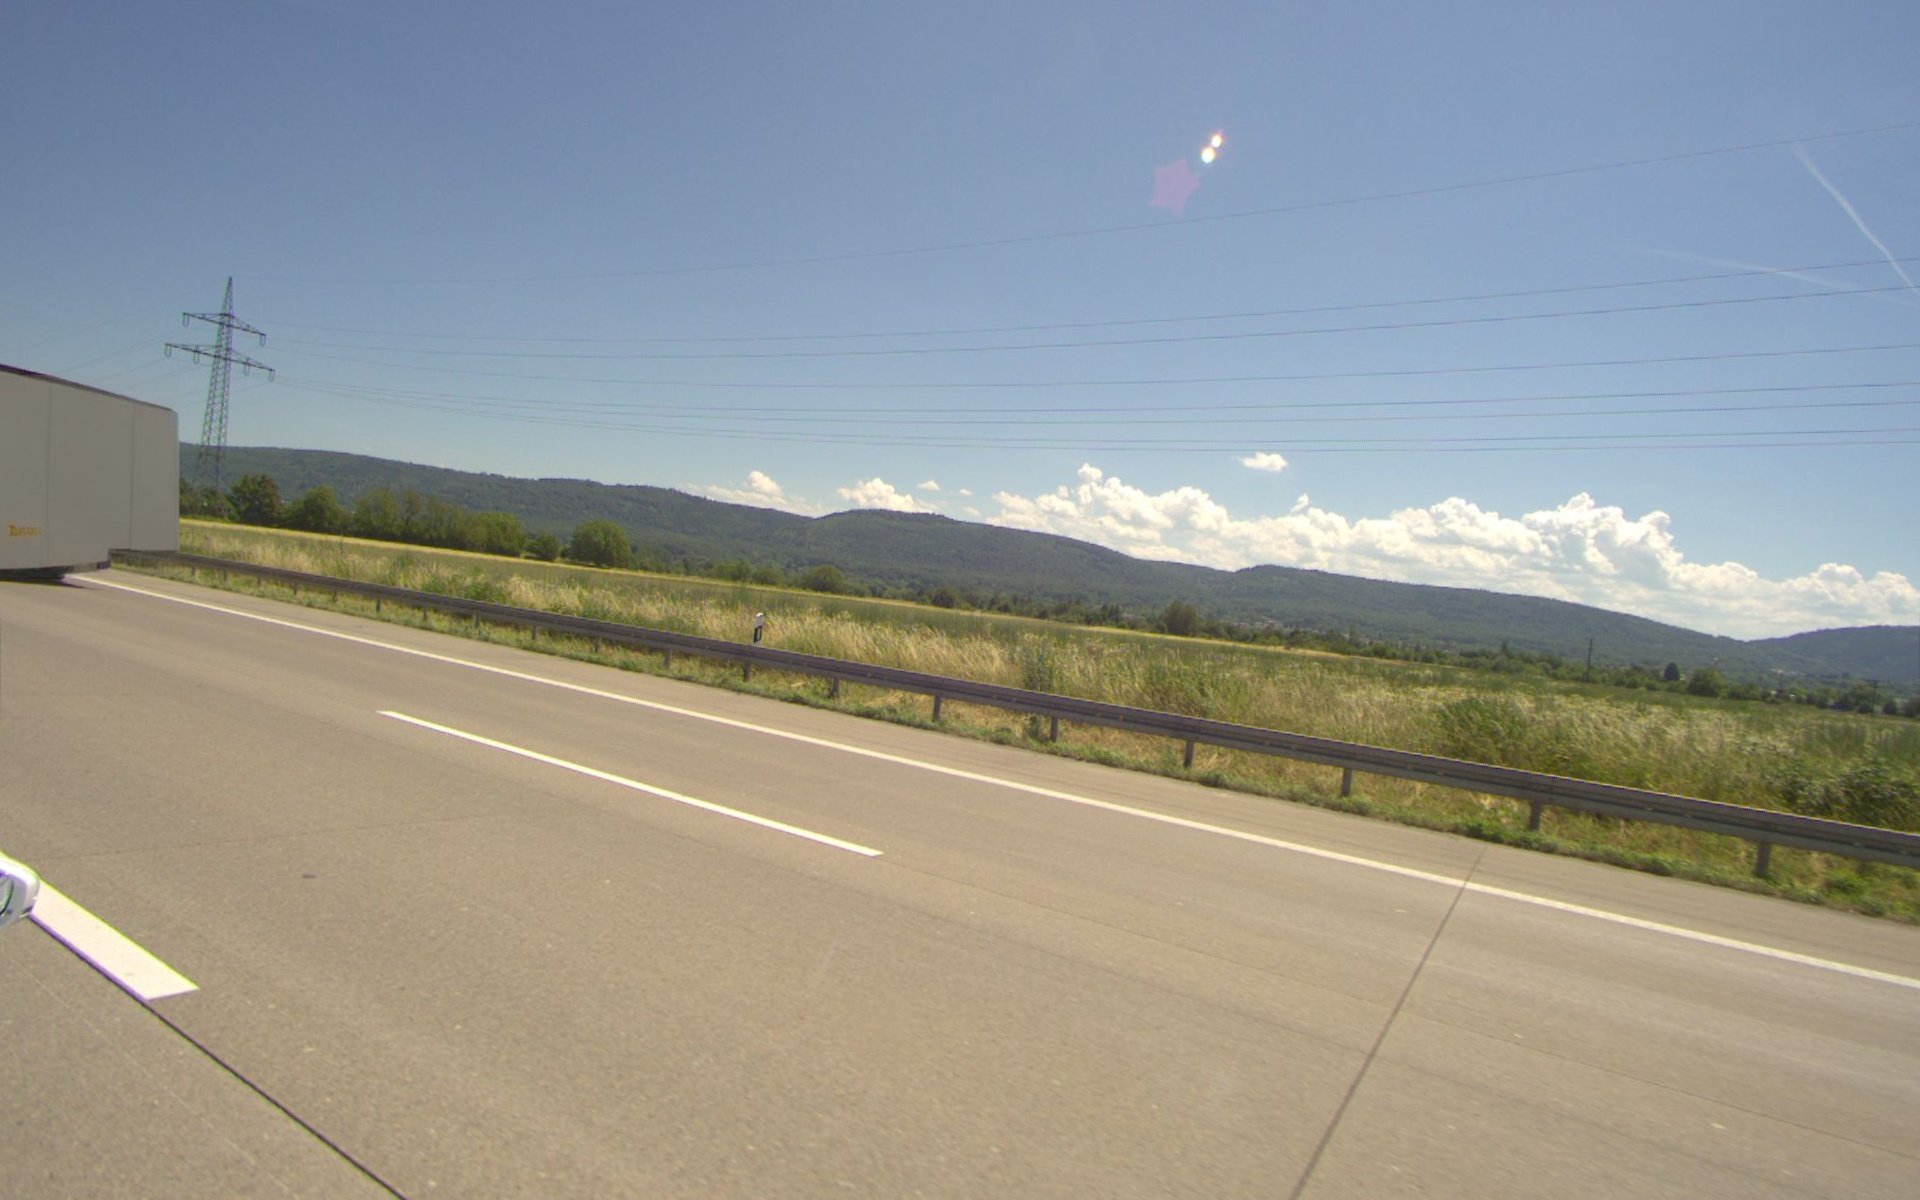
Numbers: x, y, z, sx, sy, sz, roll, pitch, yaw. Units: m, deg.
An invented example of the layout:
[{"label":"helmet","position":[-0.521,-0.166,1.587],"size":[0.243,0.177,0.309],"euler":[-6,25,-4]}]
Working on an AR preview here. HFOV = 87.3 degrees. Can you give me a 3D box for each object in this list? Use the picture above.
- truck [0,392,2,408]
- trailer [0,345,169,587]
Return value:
[{"label":"truck","position":[-28.375,-3.745,26.377],"size":[6.168,4.148,2.911],"euler":[7,-1,32]},{"label":"trailer","position":[-22.798,-3.112,22.862],"size":[13.289,4.148,2.879],"euler":[7,-1,32]}]
